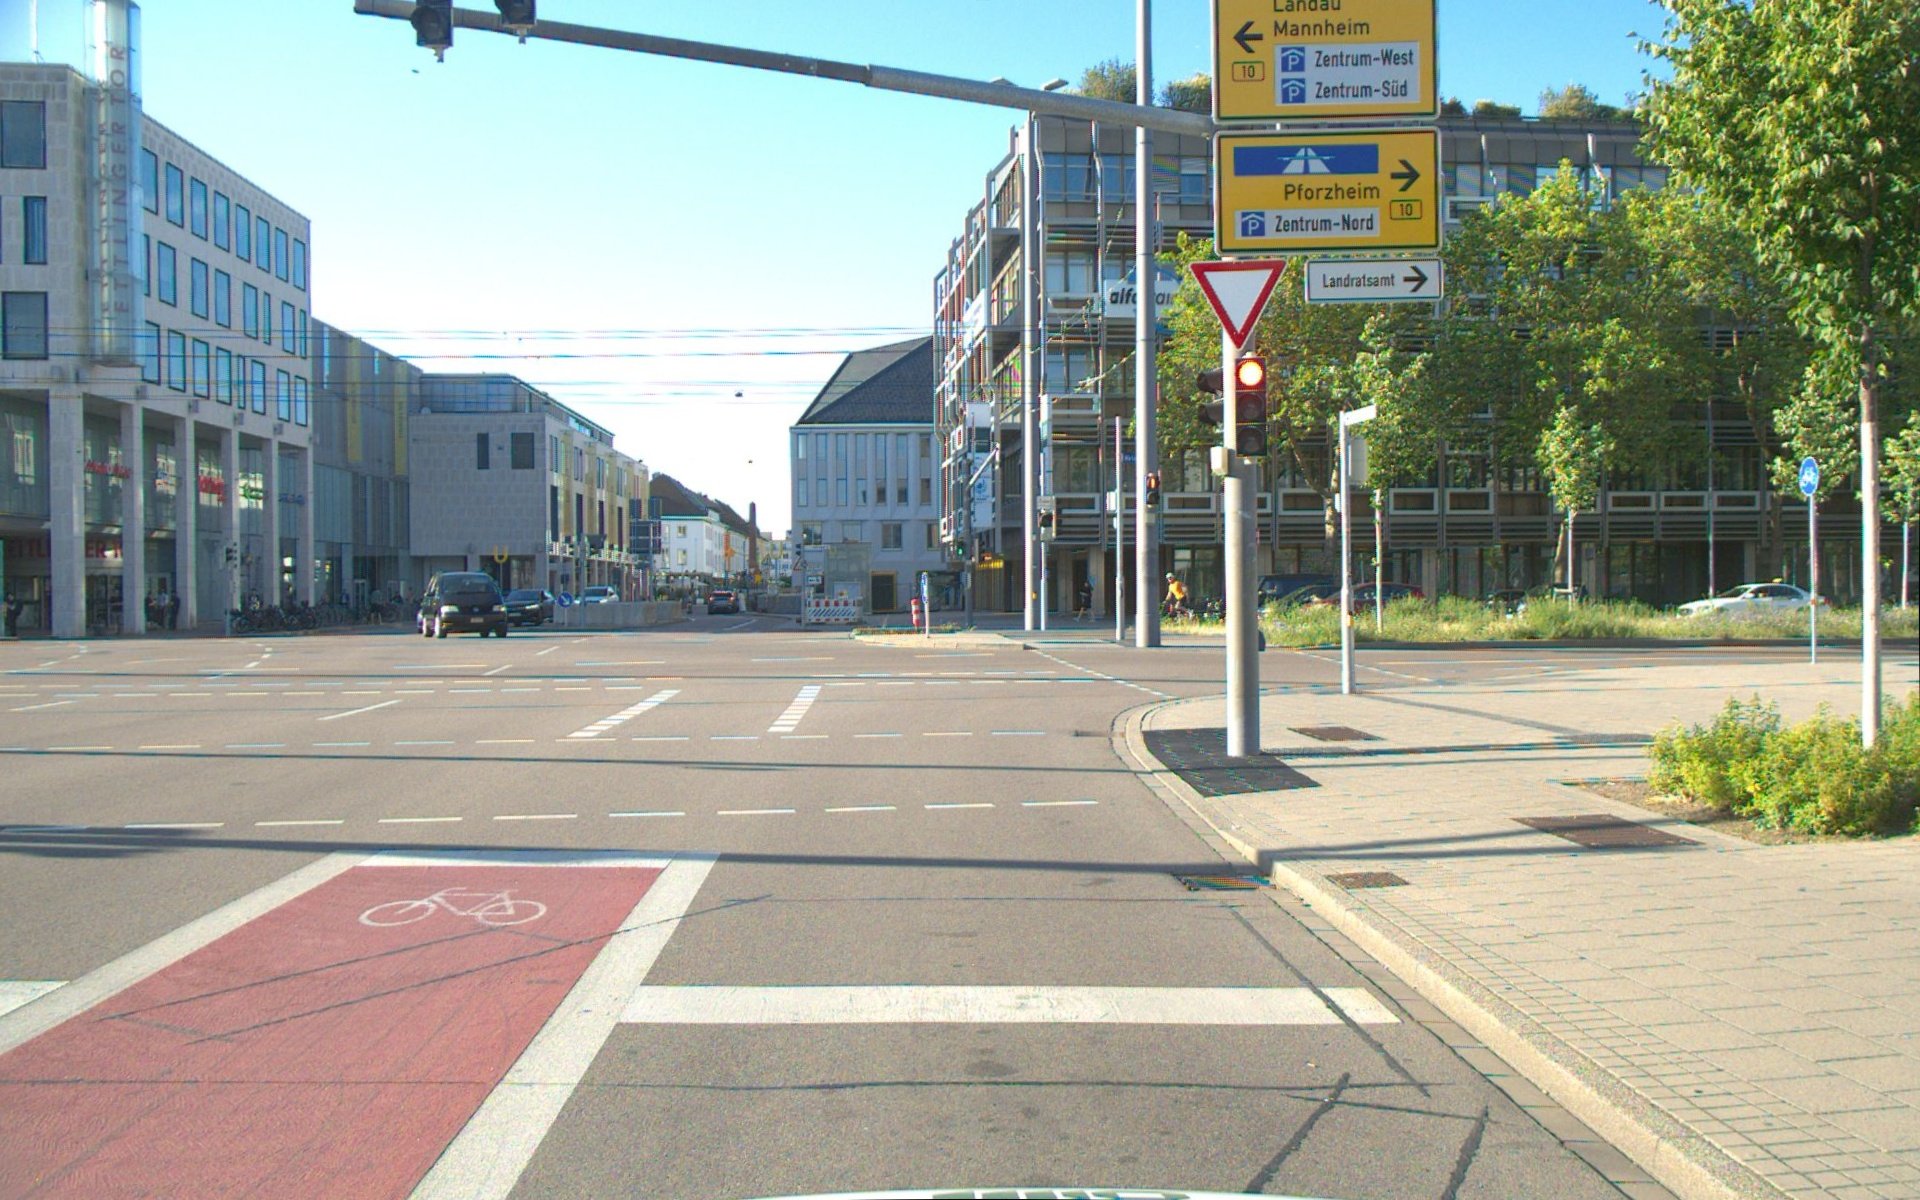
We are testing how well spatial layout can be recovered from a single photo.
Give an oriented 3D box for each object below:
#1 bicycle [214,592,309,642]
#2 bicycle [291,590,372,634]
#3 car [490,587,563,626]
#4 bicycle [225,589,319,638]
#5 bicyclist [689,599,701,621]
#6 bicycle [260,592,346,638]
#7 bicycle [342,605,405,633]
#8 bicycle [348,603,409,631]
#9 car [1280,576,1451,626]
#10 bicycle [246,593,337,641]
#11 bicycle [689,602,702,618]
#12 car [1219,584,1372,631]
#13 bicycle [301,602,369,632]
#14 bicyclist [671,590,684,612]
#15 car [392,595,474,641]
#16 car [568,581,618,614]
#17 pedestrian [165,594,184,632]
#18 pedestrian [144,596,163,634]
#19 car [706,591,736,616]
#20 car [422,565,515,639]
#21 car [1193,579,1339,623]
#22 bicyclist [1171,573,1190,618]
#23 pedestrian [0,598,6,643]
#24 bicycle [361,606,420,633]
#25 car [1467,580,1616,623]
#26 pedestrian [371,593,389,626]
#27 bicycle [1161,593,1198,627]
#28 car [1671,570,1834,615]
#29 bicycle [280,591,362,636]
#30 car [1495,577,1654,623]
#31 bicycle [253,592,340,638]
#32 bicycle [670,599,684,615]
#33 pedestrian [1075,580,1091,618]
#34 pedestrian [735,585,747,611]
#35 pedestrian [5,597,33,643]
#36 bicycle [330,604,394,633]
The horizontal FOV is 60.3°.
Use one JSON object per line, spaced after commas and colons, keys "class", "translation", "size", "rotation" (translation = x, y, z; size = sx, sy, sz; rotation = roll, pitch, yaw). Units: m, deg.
{"class": "bicycle", "translation": [-29.852, 0.703, 70.723], "size": [3.554, 2.049, 1.084], "rotation": [-1, 0, -10]}
{"class": "bicycle", "translation": [-30.966, 0.583, 81.511], "size": [3.551, 2.049, 0.901], "rotation": [-1, 0, -6]}
{"class": "car", "translation": [-18.264, 0.260, 69.830], "size": [1.952, 1.556, 4.036], "rotation": [-1, 1, 1]}
{"class": "bicycle", "translation": [-29.941, 0.585, 72.058], "size": [3.551, 2.049, 1.085], "rotation": [-1, 0, -6]}
{"class": "bicyclist", "translation": [-18.208, 0.674, 113.830], "size": [0.731, 1.486, 0.766], "rotation": [-1, 0, -4]}
{"class": "bicycle", "translation": [-30.807, 0.691, 77.583], "size": [3.551, 2.049, 1.085], "rotation": [-1, 0, -6]}
{"class": "bicycle", "translation": [-31.479, 1.013, 88.787], "size": [2.992, 1.425, 0.901], "rotation": [-1, 0, -6]}
{"class": "bicycle", "translation": [-31.694, 0.914, 90.193], "size": [2.992, 1.425, 0.901], "rotation": [-1, 0, -6]}
{"class": "car", "translation": [12.002, 0.013, 49.099], "size": [4.541, 1.380, 1.998], "rotation": [-1, 2, -6]}
{"class": "bicycle", "translation": [-29.699, 0.747, 73.527], "size": [3.551, 2.049, 1.085], "rotation": [-1, 0, -6]}
{"class": "bicycle", "translation": [-18.168, 0.686, 113.695], "size": [0.727, 1.064, 2.429], "rotation": [-1, 1, -5]}
{"class": "car", "translation": [10.929, 0.227, 54.008], "size": [4.541, 1.380, 1.998], "rotation": [-1, 2, -6]}
{"class": "bicycle", "translation": [-31.145, 0.847, 82.484], "size": [2.992, 1.425, 0.901], "rotation": [-1, 0, -6]}
{"class": "bicyclist", "translation": [-19.307, 0.053, 113.025], "size": [0.731, 1.486, 0.766], "rotation": [-1, 0, -4]}
{"class": "car", "translation": [-18.518, 0.589, 58.324], "size": [1.956, 1.380, 4.638], "rotation": [-1, 2, -8]}
{"class": "car", "translation": [-19.017, -0.134, 85.890], "size": [1.954, 1.651, 4.234], "rotation": [-1, 1, -5]}
{"class": "pedestrian", "translation": [-34.544, 0.581, 72.708], "size": [0.618, 1.636, 0.645], "rotation": [-1, 1, -37]}
{"class": "pedestrian", "translation": [-35.113, 0.659, 72.014], "size": [0.618, 1.636, 0.645], "rotation": [-1, 1, -37]}
{"class": "car", "translation": [-15.952, 0.207, 110.571], "size": [1.956, 1.579, 3.993], "rotation": [-1, 1, -8]}
{"class": "car", "translation": [-13.024, 0.005, 43.649], "size": [1.965, 1.772, 4.616], "rotation": [-1, 2, -21]}
{"class": "car", "translation": [10.454, 0.010, 56.689], "size": [4.541, 1.380, 1.998], "rotation": [-1, 2, -6]}
{"class": "bicyclist", "translation": [6.663, -0.143, 49.892], "size": [0.498, 1.361, 0.453], "rotation": [-1, 0, 1]}
{"class": "pedestrian", "translation": [-35.055, 0.737, 59.876], "size": [0.610, 1.636, 0.653], "rotation": [-1, 0, -3]}
{"class": "bicycle", "translation": [-31.970, 1.103, 92.885], "size": [2.992, 1.425, 0.901], "rotation": [-1, 0, -6]}
{"class": "car", "translation": [20.476, 0.036, 58.320], "size": [4.541, 1.380, 1.998], "rotation": [-1, 2, -6]}
{"class": "pedestrian", "translation": [-28.935, 0.482, 82.532], "size": [0.734, 1.636, 0.619], "rotation": [-1, 1, -29]}
{"class": "bicycle", "translation": [6.616, 0.303, 49.890], "size": [1.054, 0.988, 0.458], "rotation": [-1, 0, 0]}
{"class": "car", "translation": [26.386, -0.254, 55.147], "size": [4.541, 1.380, 1.998], "rotation": [-1, 2, -6]}
{"class": "bicycle", "translation": [-30.772, 0.640, 79.675], "size": [3.551, 2.049, 0.901], "rotation": [-1, 0, -6]}
{"class": "car", "translation": [20.278, -0.024, 54.700], "size": [4.541, 1.380, 1.998], "rotation": [-1, 2, -6]}
{"class": "bicycle", "translation": [-30.650, 0.687, 76.440], "size": [3.551, 2.049, 1.085], "rotation": [-1, 0, -6]}
{"class": "bicycle", "translation": [-19.350, 0.457, 113.111], "size": [0.727, 1.064, 2.429], "rotation": [-1, 1, -5]}
{"class": "pedestrian", "translation": [5.114, -0.032, 68.704], "size": [0.609, 1.545, 0.654], "rotation": [-1, 0, 7]}
{"class": "pedestrian", "translation": [-14.622, -0.146, 110.533], "size": [0.700, 1.697, 0.986], "rotation": [-1, 0, -4]}
{"class": "pedestrian", "translation": [-34.063, 0.709, 59.864], "size": [0.610, 1.636, 0.653], "rotation": [-1, 0, -3]}
{"class": "bicycle", "translation": [-31.425, 0.983, 86.901], "size": [2.992, 1.425, 0.901], "rotation": [-1, 0, -6]}
